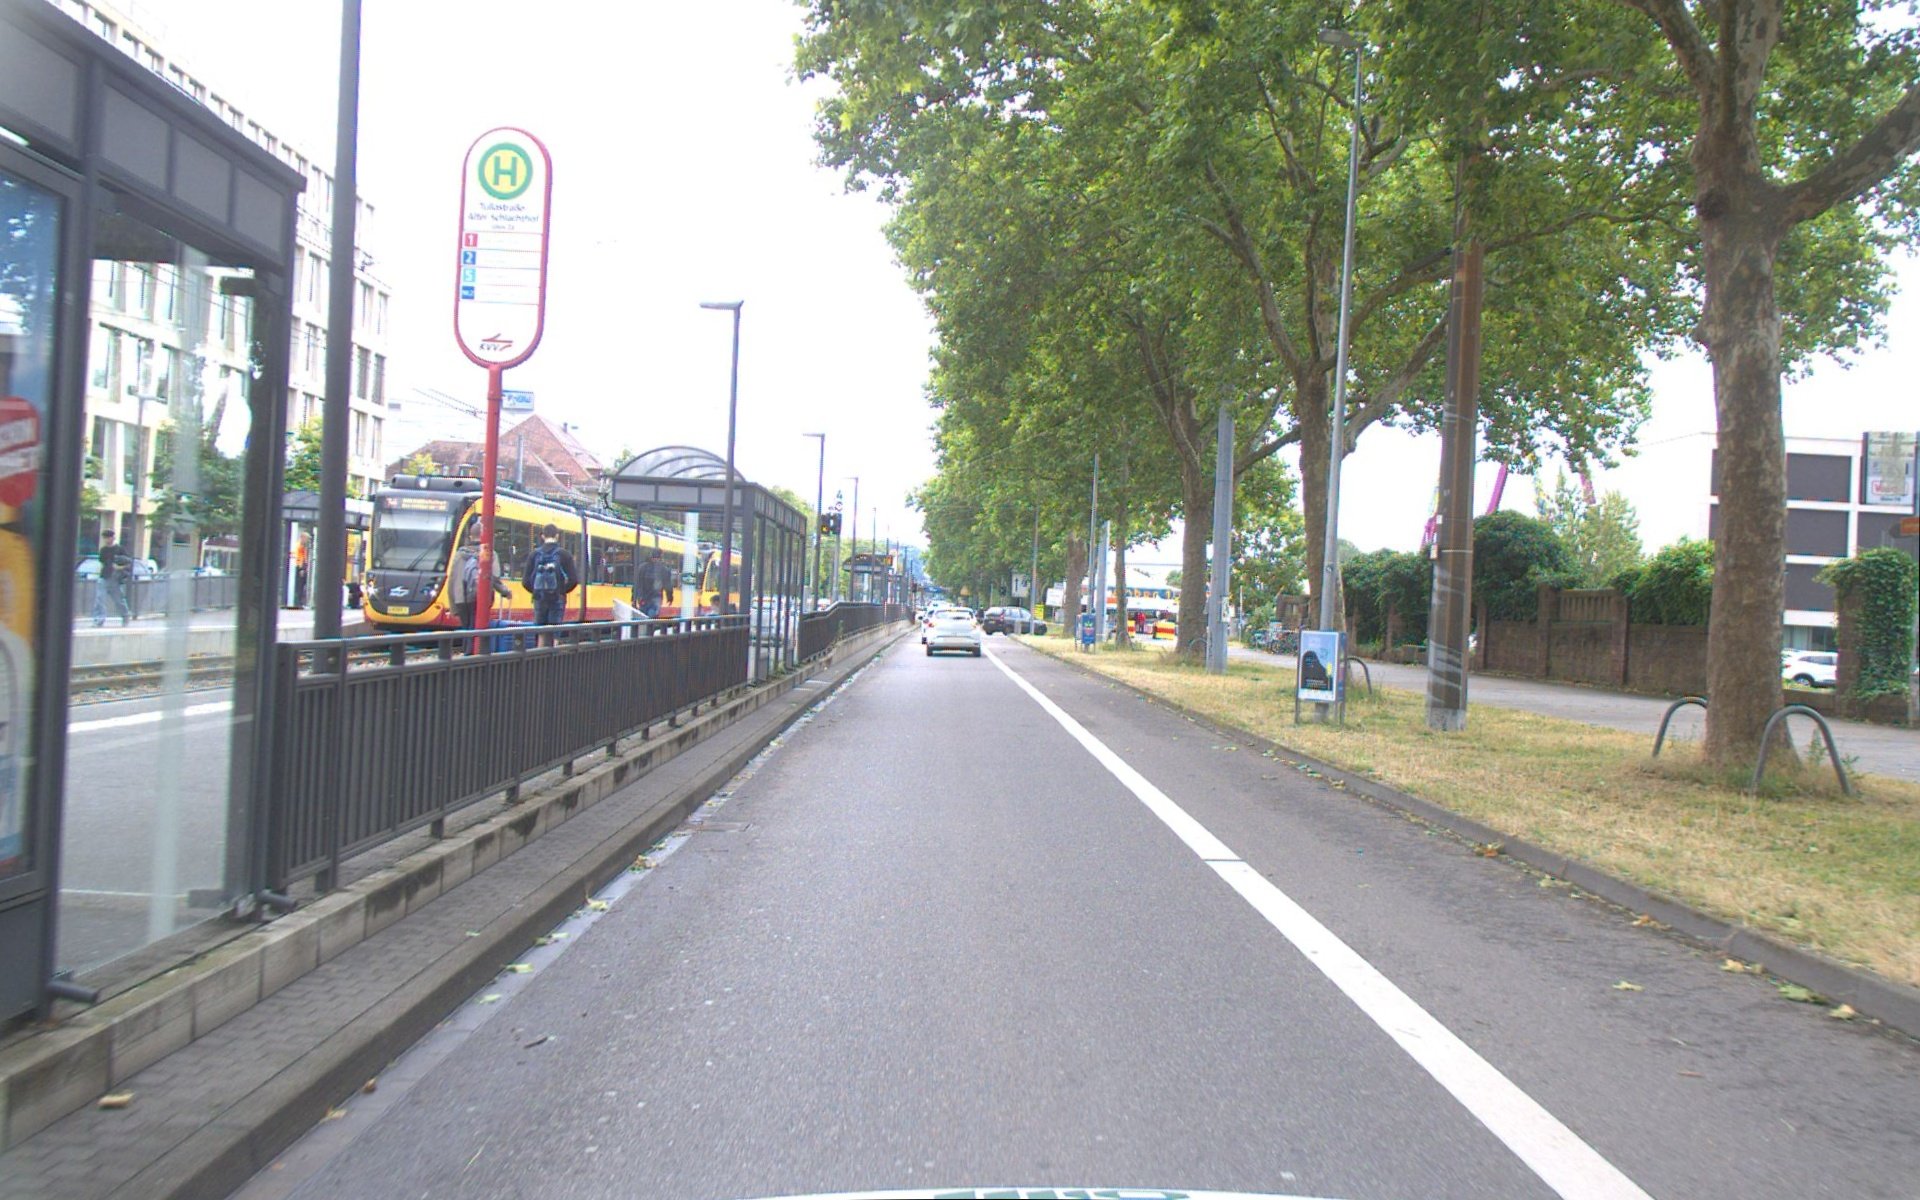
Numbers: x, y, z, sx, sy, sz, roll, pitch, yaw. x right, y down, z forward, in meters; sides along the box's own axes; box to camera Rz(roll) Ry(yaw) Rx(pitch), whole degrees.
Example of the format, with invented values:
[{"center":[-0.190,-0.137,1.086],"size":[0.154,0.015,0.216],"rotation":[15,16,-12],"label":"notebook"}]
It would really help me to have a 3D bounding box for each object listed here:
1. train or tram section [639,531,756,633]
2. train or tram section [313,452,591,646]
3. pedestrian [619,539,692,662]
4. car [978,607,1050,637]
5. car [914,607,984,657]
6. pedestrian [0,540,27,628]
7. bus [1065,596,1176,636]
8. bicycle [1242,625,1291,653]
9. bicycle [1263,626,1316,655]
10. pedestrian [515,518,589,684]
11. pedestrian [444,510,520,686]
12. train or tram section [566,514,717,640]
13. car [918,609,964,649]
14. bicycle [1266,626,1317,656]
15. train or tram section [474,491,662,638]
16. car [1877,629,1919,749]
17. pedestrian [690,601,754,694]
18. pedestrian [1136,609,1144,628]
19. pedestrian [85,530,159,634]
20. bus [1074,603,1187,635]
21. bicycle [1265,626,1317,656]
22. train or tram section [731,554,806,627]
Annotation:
[{"center":[-12.162,-0.669,78.160],"size":[3.115,4.252,14.731],"rotation":[2,-1,0],"label":"train or tram section"},{"center":[-11.845,-0.978,40.123],"size":[3.171,3.929,11.309],"rotation":[2,-1,0],"label":"train or tram section"},{"center":[-5.249,0.007,28.552],"size":[1.037,2.049,0.840],"rotation":[2,-1,-1],"label":"pedestrian"},{"center":[3.028,1.220,92.259],"size":[3.904,1.512,1.787],"rotation":[2,0,2],"label":"car"},{"center":[-0.389,1.005,52.810],"size":[1.849,1.478,3.995],"rotation":[2,-1,-6],"label":"car"},{"center":[-22.980,-0.390,39.316],"size":[0.914,2.049,1.032],"rotation":[2,-1,-2],"label":"pedestrian"},{"center":[13.656,1.335,140.860],"size":[9.093,3.011,1.999],"rotation":[2,-1,-3],"label":"bus"},{"center":[12.660,1.612,68.314],"size":[1.883,1.110,0.549],"rotation":[1,-1,-3],"label":"bicycle"},{"center":[12.828,1.571,64.376],"size":[1.935,1.114,0.549],"rotation":[1,-1,-3],"label":"bicycle"},{"center":[-4.675,0.021,19.014],"size":[0.657,1.825,1.110],"rotation":[2,-1,-9],"label":"pedestrian"},{"center":[-5.180,-0.016,17.972],"size":[0.658,1.825,1.109],"rotation":[2,-1,-14],"label":"pedestrian"},{"center":[-12.006,-0.693,63.980],"size":[3.115,4.252,13.617],"rotation":[2,-1,0],"label":"train or tram section"},{"center":[-0.765,1.192,68.727],"size":[1.803,1.579,4.000],"rotation":[2,0,1],"label":"car"},{"center":[12.777,1.564,63.736],"size":[1.862,1.116,0.549],"rotation":[1,-1,-3],"label":"bicycle"},{"center":[-11.886,-0.900,51.503],"size":[3.099,3.929,11.309],"rotation":[2,-1,0],"label":"train or tram section"},{"center":[18.745,1.624,28.536],"size":[4.779,2.049,1.998],"rotation":[2,-1,-4],"label":"car"},{"center":[-3.516,0.699,24.448],"size":[0.818,1.326,0.613],"rotation":[2,-1,-2],"label":"pedestrian"},{"center":[14.301,1.491,131.415],"size":[0.483,1.488,0.523],"rotation":[2,-1,-3],"label":"pedestrian"},{"center":[-15.232,-0.314,30.084],"size":[0.697,1.827,1.160],"rotation":[2,-1,-2],"label":"pedestrian"},{"center":[14.117,1.546,137.338],"size":[9.093,2.266,1.999],"rotation":[2,-1,-3],"label":"bus"},{"center":[12.643,1.567,63.149],"size":[1.852,1.124,0.549],"rotation":[1,-1,-3],"label":"bicycle"},{"center":[-12.319,-0.464,107.631],"size":[3.115,4.252,14.731],"rotation":[2,-1,0],"label":"train or tram section"}]
